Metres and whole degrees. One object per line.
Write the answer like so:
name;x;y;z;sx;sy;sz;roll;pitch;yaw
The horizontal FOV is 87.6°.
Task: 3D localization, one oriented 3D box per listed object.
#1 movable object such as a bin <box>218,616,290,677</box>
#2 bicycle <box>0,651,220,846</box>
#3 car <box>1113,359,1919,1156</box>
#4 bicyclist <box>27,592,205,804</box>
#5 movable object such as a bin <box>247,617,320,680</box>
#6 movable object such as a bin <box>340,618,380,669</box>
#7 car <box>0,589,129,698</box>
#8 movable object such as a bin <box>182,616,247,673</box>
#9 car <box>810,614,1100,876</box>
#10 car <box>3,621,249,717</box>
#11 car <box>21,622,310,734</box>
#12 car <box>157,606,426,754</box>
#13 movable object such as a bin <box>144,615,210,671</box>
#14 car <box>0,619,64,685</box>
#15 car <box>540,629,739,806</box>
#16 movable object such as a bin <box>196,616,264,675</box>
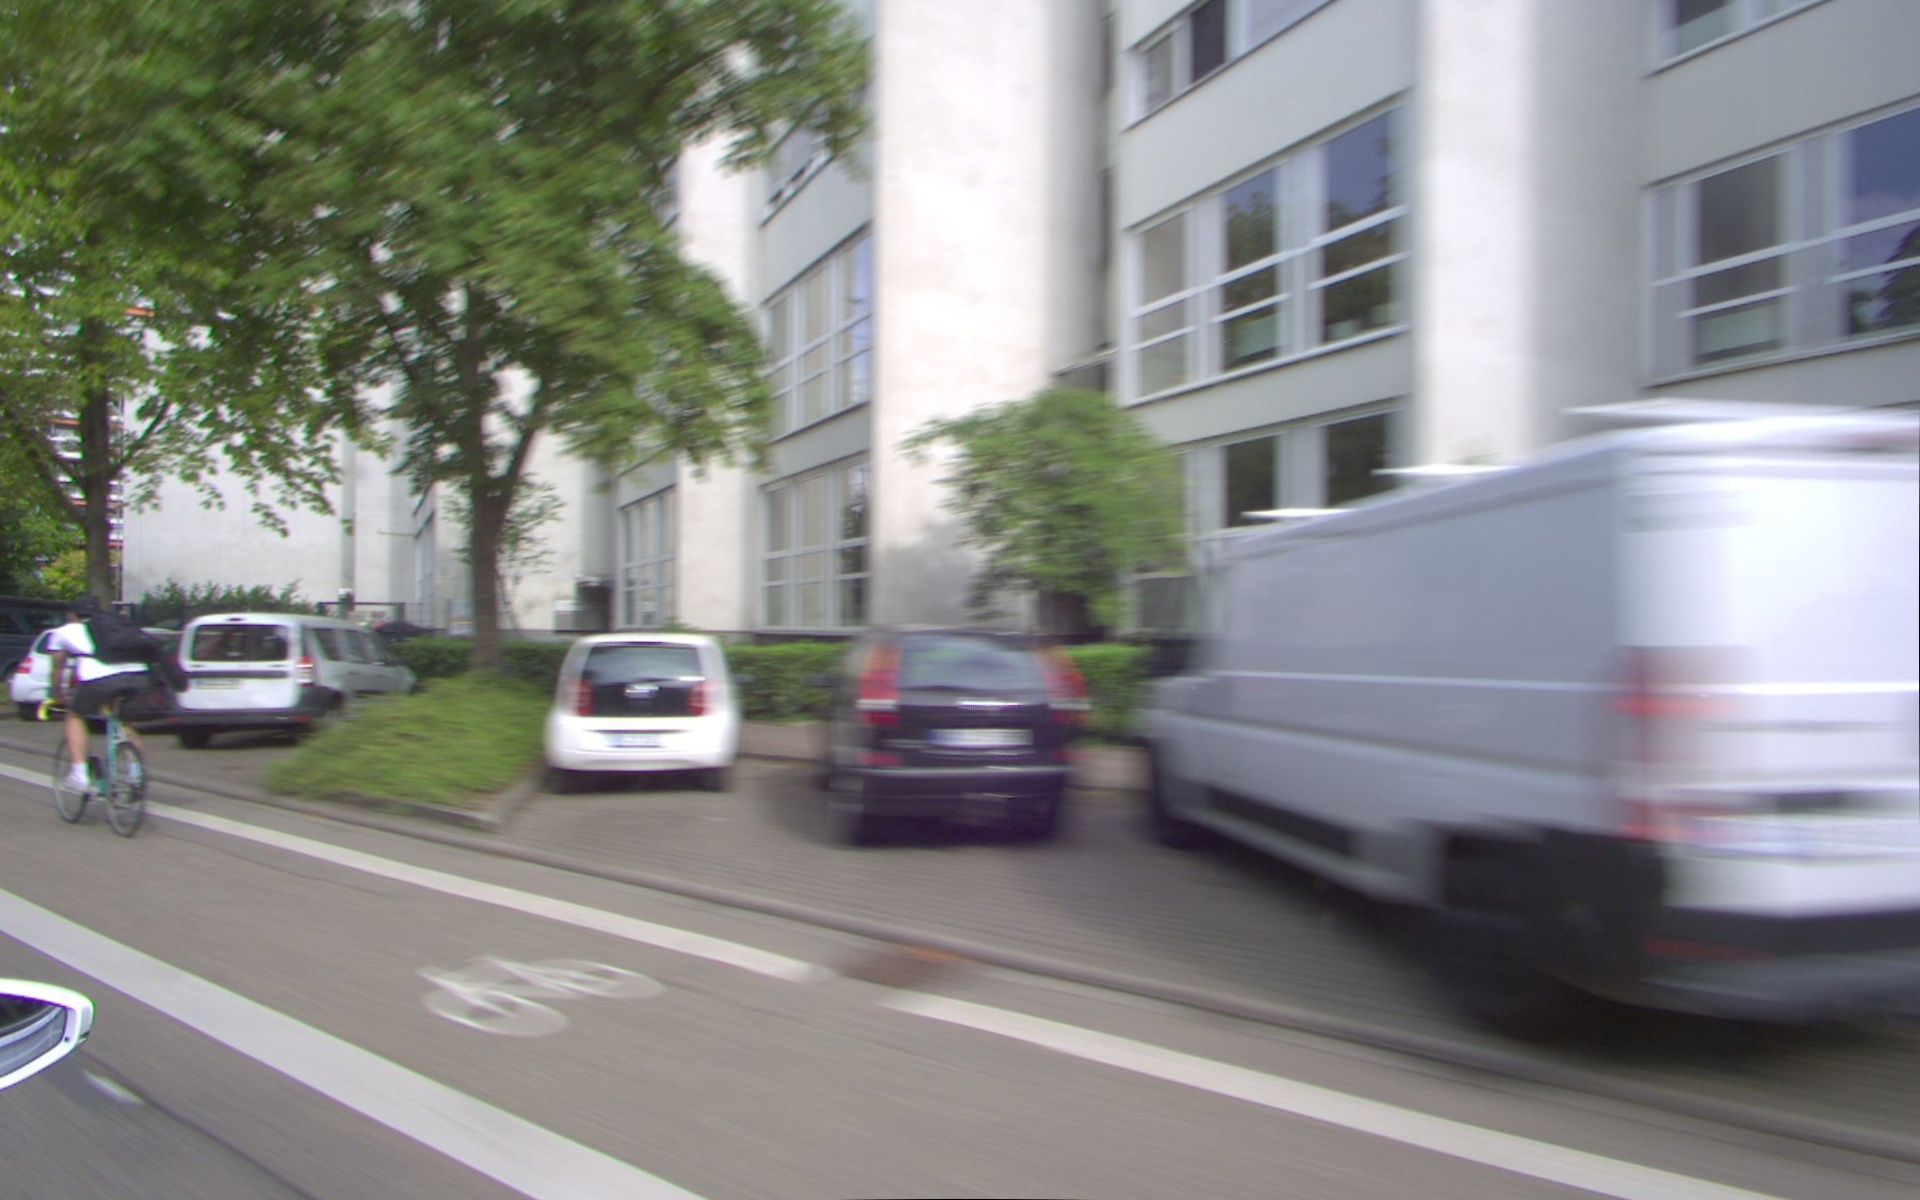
movable object such as a bin;-18.318;1.210;25.982;1.304;1.527;1.067;0;-2;33
bicycle;-6.536;1.052;7.641;2.093;1.264;0.656;0;-2;31
car;2.799;0.565;5.579;2.340;2.319;4.957;1;-2;-10
bicyclist;-6.386;0.698;7.577;1.161;1.482;0.656;0;-2;31
movable object such as a bin;-16.958;1.208;25.102;1.304;1.527;1.067;0;-2;33
movable object such as a bin;-19.421;1.405;32.417;1.022;1.582;1.072;2;-2;-34
car;-19.298;0.868;20.423;1.798;2.040;4.273;1;-2;-12
movable object such as a bin;-20.492;1.220;27.531;1.196;1.527;1.067;0;-2;33
car;-0.295;1.014;8.522;1.658;1.669;3.958;1;-2;-12
car;-13.925;1.119;17.014;1.658;1.450;3.714;1;-2;-12
car;-11.609;1.096;15.015;1.658;1.450;3.975;1;-2;-10
car;-8.840;1.005;13.679;1.658;1.689;4.106;1;-2;-13
movable object such as a bin;-22.151;1.213;28.348;1.315;1.527;1.067;0;-2;33
car;-22.445;1.167;22.627;1.647;1.478;3.825;1;-2;-14
car;-3.257;1.108;10.852;1.658;1.530;4.090;1;-2;-12
movable object such as a bin;-19.412;1.211;26.644;1.196;1.527;1.067;0;-2;33
